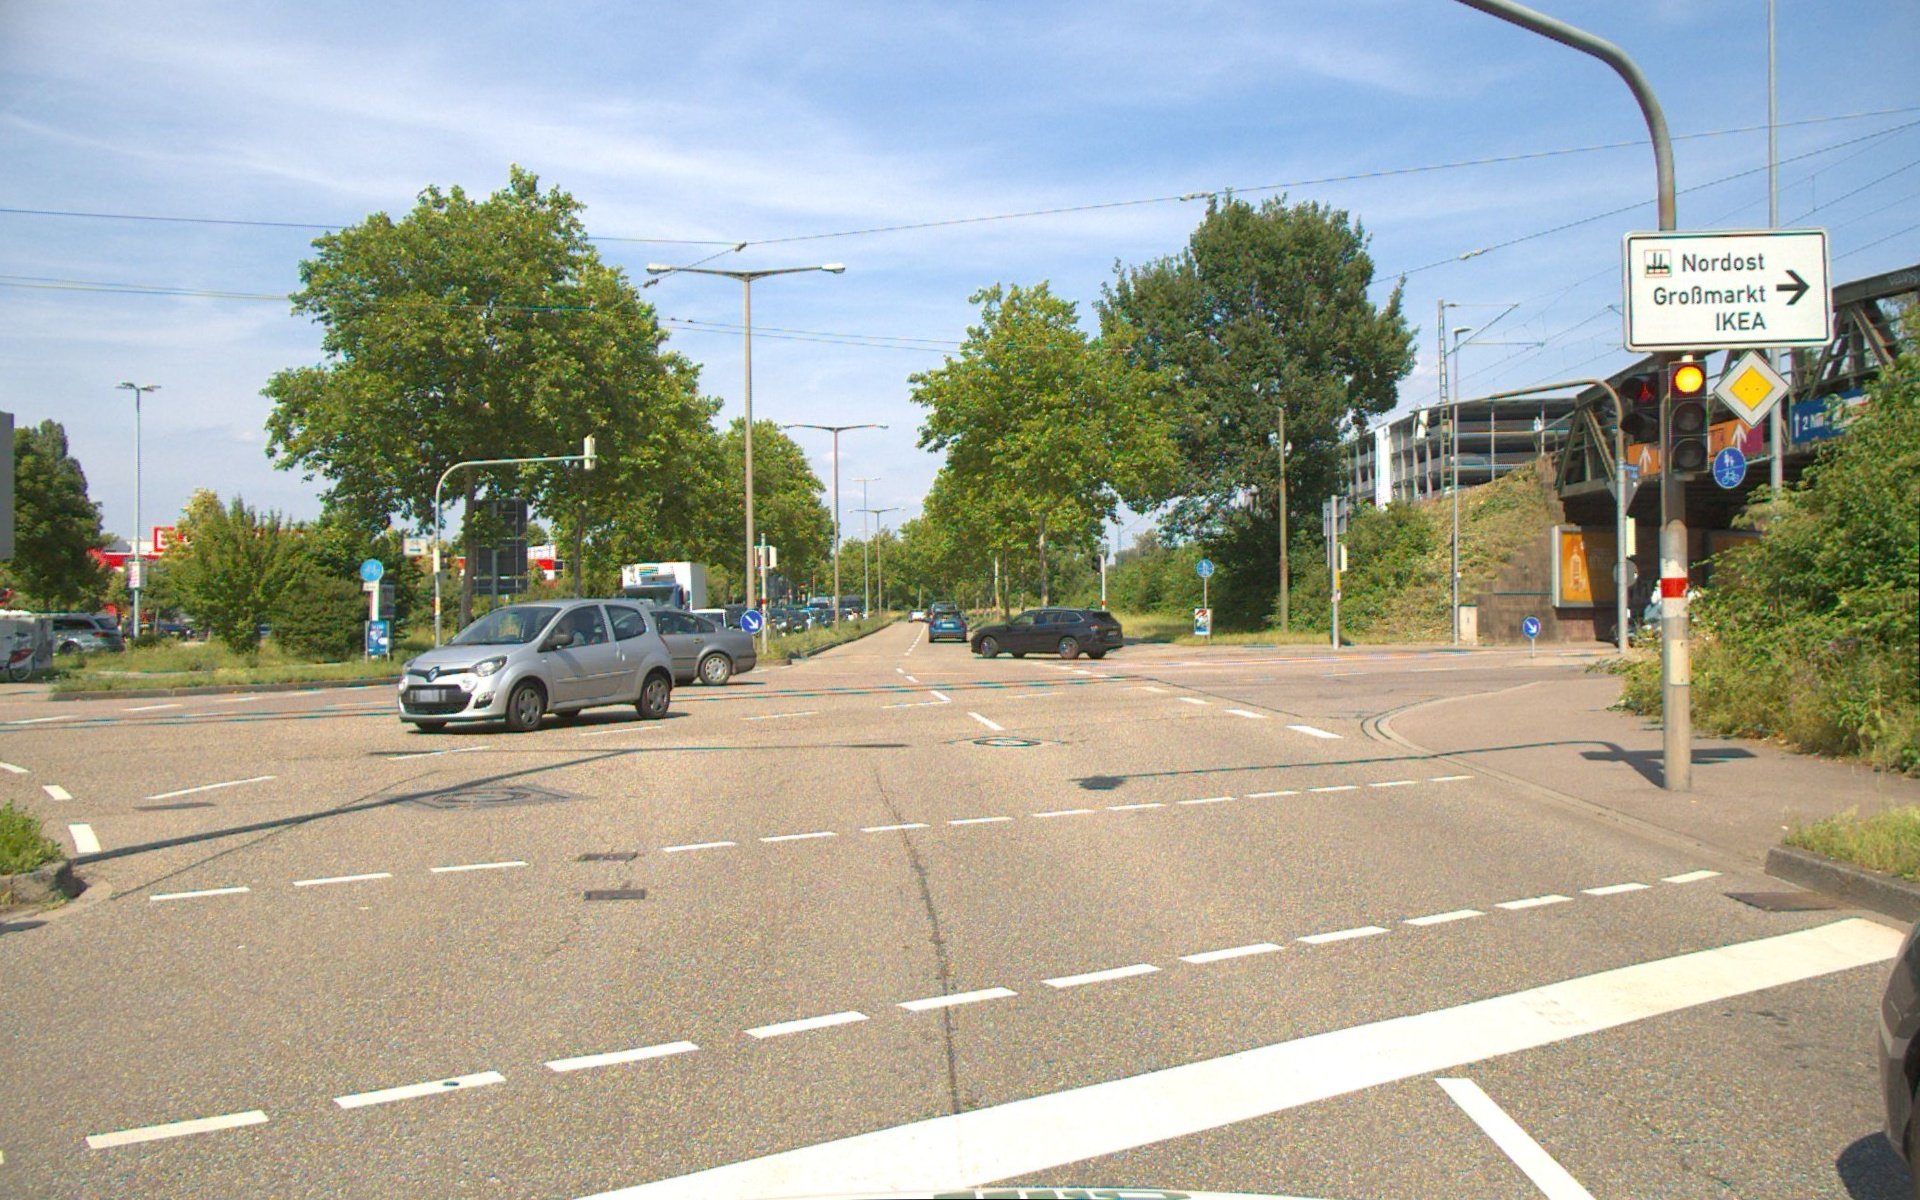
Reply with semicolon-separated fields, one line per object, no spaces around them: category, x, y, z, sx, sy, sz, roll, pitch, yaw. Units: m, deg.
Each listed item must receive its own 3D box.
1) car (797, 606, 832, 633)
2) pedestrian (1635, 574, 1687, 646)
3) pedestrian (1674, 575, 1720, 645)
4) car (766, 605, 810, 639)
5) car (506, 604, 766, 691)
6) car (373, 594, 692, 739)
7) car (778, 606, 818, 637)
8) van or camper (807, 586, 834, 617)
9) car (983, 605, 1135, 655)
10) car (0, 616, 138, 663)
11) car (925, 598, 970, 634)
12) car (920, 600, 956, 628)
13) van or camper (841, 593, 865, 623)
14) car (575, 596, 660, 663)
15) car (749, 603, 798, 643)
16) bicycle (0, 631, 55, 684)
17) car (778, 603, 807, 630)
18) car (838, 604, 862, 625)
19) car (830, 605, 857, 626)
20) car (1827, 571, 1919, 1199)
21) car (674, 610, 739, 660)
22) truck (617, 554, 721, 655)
car;-8.548;1.134;97.410;1.749;1.515;4.209;-2;0;-2
pedestrian;16.237;0.234;38.337;0.850;1.640;0.777;-1;0;-1
pedestrian;17.094;0.234;38.368;0.714;1.607;0.777;-1;0;-1
car;-8.216;1.034;79.085;1.655;1.499;4.217;-3;0;-1
car;-5.887;0.829;30.284;4.410;1.436;1.620;-1;0;-35
car;-4.985;0.717;19.750;1.617;1.540;3.731;-1;0;27
car;-8.281;1.083;84.720;1.654;1.497;3.814;-2;0;-1
van or camper;-12.450;0.133;147.675;1.974;2.633;5.516;-2;0;-1
car;2.920;0.873;49.093;4.175;1.416;1.835;-1;0;33
car;-29.703;1.280;54.178;4.477;1.439;2.197;-1;0;-8
car;-0.563;0.689;73.323;1.953;1.545;3.999;-1;0;-1
car;-1.253;0.766;94.250;1.953;1.545;3.999;-1;0;-1
van or camper;-9.067;0.722;140.551;1.899;2.410;5.395;-2;-1;-2
car;-10.936;0.898;53.135;1.937;2.034;5.028;-1;0;-3
car;-8.055;0.988;71.813;1.654;1.614;4.239;-2;0;-1
bicycle;-19.935;1.206;34.675;0.581;1.055;1.897;-1;0;13
car;-12.023;1.172;118.694;1.654;1.891;4.035;-2;-1;-1
car;-8.780;1.154;131.796;1.654;1.537;3.814;-2;0;-1
car;-8.789;1.165;125.034;1.747;1.484;4.471;-2;0;-1
car;3.014;0.684;2.106;1.640;1.479;4.035;1;0;-1
car;-8.225;1.118;53.937;1.560;1.503;3.728;-2;0;-1
truck;-11.044;0.153;63.382;2.747;3.532;6.690;-3;0;-1
